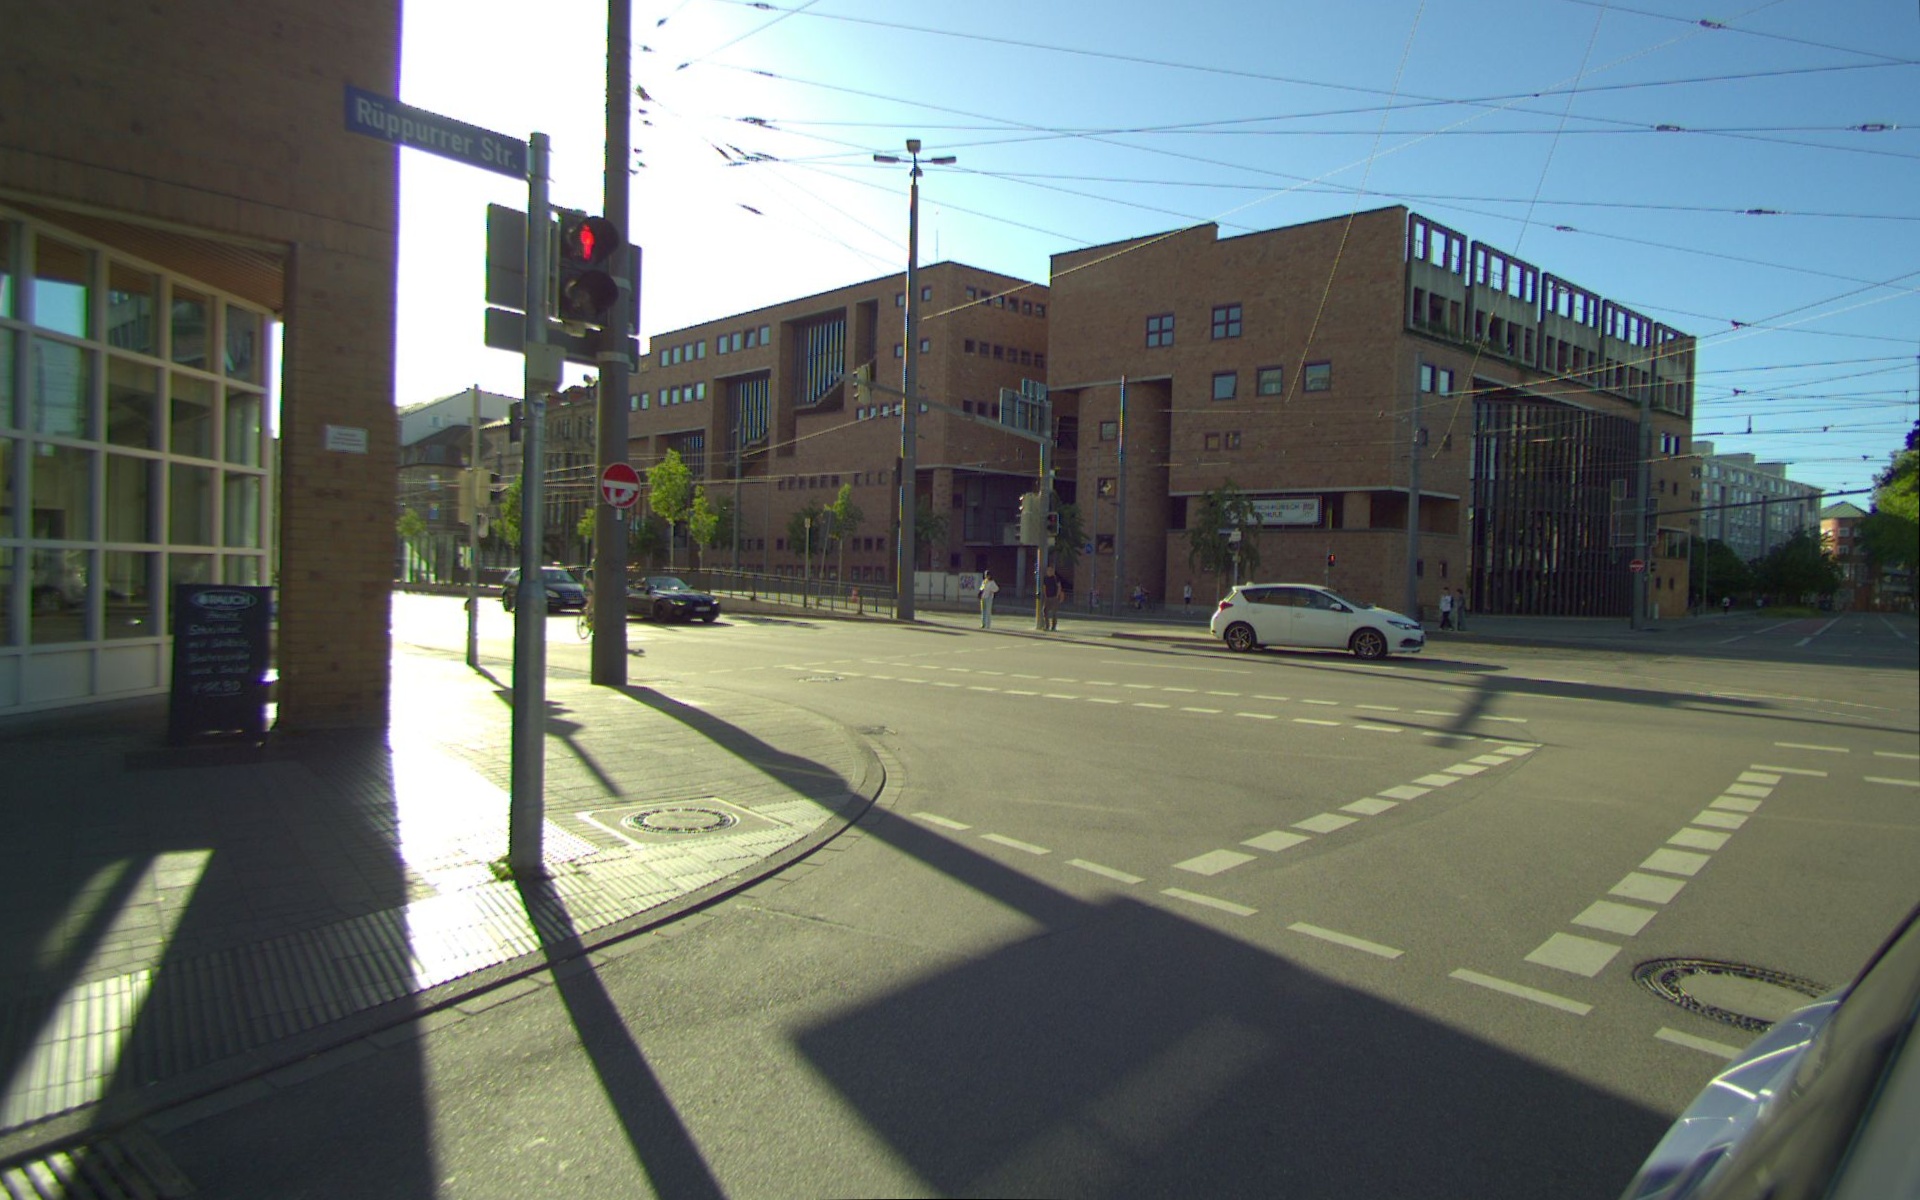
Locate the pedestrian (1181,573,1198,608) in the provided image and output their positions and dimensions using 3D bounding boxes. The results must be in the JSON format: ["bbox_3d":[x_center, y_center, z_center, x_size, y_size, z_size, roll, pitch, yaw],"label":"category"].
[{"bbox_3d":[12.079,-0.488,53.268,0.572,1.807,0.540,6,4,44],"label":"pedestrian"}]

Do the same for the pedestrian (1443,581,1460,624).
[{"bbox_3d":[21.085,0.098,43.383,0.545,1.808,0.566,2,2,33],"label":"pedestrian"}]

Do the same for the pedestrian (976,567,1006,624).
[{"bbox_3d":[0.892,-0.141,28.856,0.641,1.596,0.576,2,1,28],"label":"pedestrian"}]

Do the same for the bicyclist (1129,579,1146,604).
[{"bbox_3d":[9.549,-0.455,54.420,0.650,1.356,0.638,2,1,43],"label":"bicyclist"}]

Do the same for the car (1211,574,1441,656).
[{"bbox_3d":[7.634,0.244,21.230,4.266,1.466,1.825,2,3,32],"label":"car"}]

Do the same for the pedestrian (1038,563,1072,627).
[{"bbox_3d":[2.632,-0.151,28.161,0.592,1.748,0.712,3,1,42],"label":"pedestrian"}]

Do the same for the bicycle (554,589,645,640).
[{"bbox_3d":[-8.207,0.306,22.952,2.498,1.003,0.800,3,2,40],"label":"bicycle"}]

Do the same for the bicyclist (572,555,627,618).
[{"bbox_3d":[-8.156,-0.313,22.911,0.922,1.394,0.800,3,2,40],"label":"bicyclist"}]

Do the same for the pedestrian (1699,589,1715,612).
[{"bbox_3d":[54.951,0.035,74.494,0.805,1.626,0.680,3,1,29],"label":"pedestrian"}]

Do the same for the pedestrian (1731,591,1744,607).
[{"bbox_3d":[69.380,-0.097,90.352,0.810,1.401,0.676,3,2,44],"label":"pedestrian"}]

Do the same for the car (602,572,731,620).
[{"bbox_3d":[-9.061,-0.186,31.117,4.211,1.284,1.819,3,3,40],"label":"car"}]

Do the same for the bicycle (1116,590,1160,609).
[{"bbox_3d":[9.551,-0.050,54.410,2.338,0.915,0.640,3,1,43],"label":"bicycle"}]

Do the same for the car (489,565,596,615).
[{"bbox_3d":[-15.011,-0.422,36.312,4.211,1.632,1.819,3,3,40],"label":"car"}]

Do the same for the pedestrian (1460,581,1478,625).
[{"bbox_3d":[21.446,0.131,42.647,0.545,1.808,0.566,2,2,33],"label":"pedestrian"}]

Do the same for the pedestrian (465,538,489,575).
[{"bbox_3d":[-25.316,-2.285,53.045,0.731,1.910,0.854,4,1,31],"label":"pedestrian"}]

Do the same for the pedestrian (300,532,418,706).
[{"bbox_3d":[-6.161,0.172,10.383,0.746,1.686,0.734,3,1,28],"label":"pedestrian"}]

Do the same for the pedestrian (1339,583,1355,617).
[{"bbox_3d":[17.445,-0.003,45.636,0.567,1.495,0.545,3,1,24],"label":"pedestrian"}]

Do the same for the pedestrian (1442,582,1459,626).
[{"bbox_3d":[20.535,0.144,42.348,0.545,1.808,0.566,2,2,33],"label":"pedestrian"}]
